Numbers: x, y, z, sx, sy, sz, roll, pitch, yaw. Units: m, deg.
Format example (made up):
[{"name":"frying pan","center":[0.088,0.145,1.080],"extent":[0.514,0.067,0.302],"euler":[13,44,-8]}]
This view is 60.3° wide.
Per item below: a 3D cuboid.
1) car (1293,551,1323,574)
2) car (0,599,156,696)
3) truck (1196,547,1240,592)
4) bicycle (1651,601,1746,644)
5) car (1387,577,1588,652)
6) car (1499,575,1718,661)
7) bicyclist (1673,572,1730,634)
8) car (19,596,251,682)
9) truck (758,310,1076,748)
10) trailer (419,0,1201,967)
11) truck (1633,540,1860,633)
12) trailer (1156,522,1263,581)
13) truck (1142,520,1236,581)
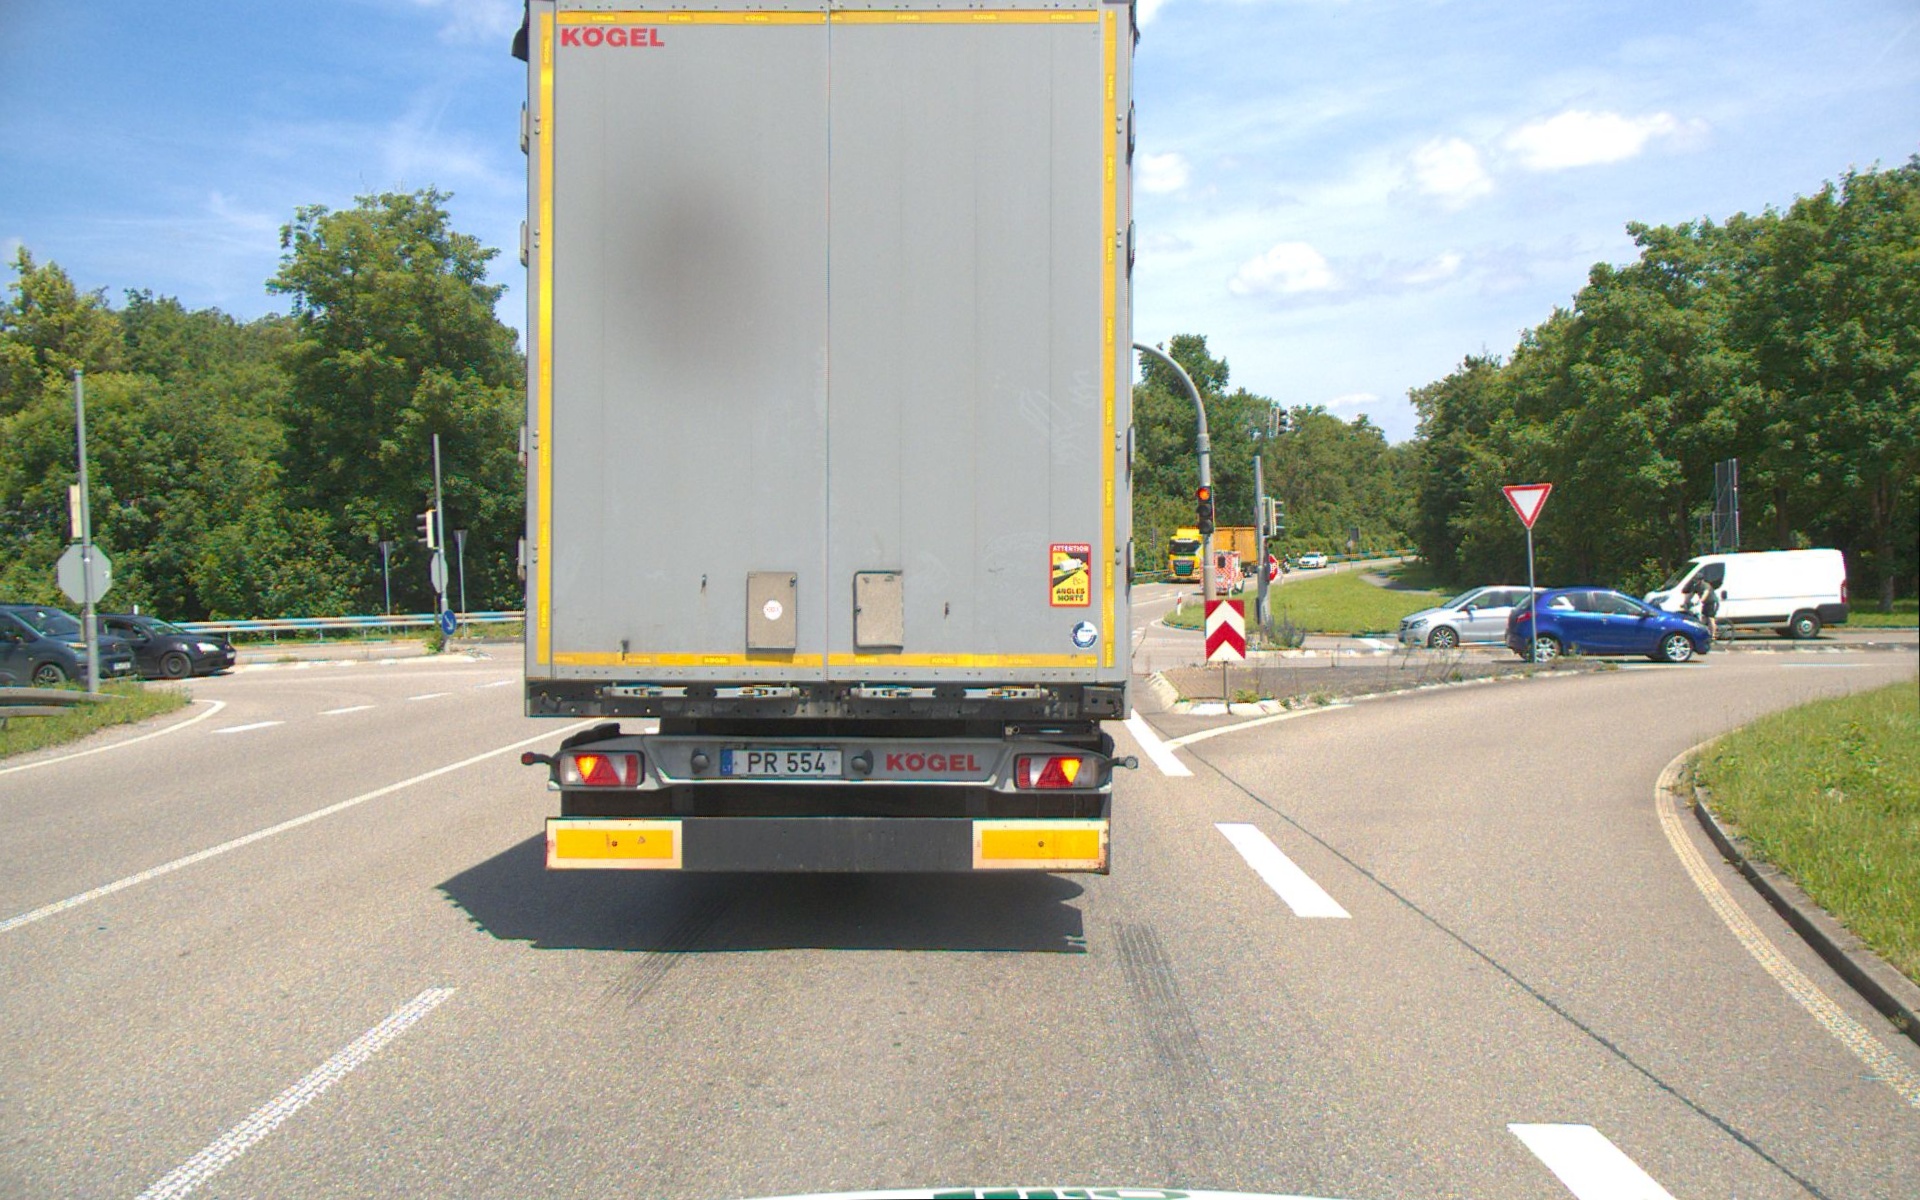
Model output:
[{"name":"car","center":[33.161,-3.608,157.635],"extent":[1.954,2.048,3.999],"euler":[0,3,25]},{"name":"car","center":[-18.093,0.910,32.026],"extent":[4.143,1.801,2.002],"euler":[-1,-1,9]},{"name":"truck","center":[16.415,-1.898,105.047],"extent":[2.440,2.775,6.036],"euler":[0,0,12]},{"name":"bicycle","center":[17.822,0.554,39.948],"extent":[1.949,1.013,0.796],"euler":[1,-2,-4]},{"name":"car","center":[12.791,0.362,40.317],"extent":[4.334,1.749,2.001],"euler":[0,-2,4]},{"name":"car","center":[12.728,0.368,32.676],"extent":[3.763,1.641,1.883],"euler":[0,-2,12]},{"name":"bicyclist","center":[17.902,0.084,39.957],"extent":[0.985,1.474,0.795],"euler":[1,-2,-3]},{"name":"car","center":[-17.989,0.836,36.161],"extent":[4.143,1.801,2.002],"euler":[-1,-1,9]},{"name":"truck","center":[-0.341,-0.682,18.890],"extent":[2.975,4.104,6.630],"euler":[0,0,1]},{"name":"trailer","center":[-0.460,-0.671,12.633],"extent":[2.988,4.104,12.560],"euler":[0,0,1]},{"name":"truck","center":[20.462,-0.321,43.266],"extent":[5.035,2.336,2.001],"euler":[0,-2,15]},{"name":"trailer","center":[20.899,-3.948,136.843],"extent":[4.907,4.438,20.845],"euler":[0,1,19]},{"name":"truck","center":[17.852,-3.774,128.129],"extent":[4.907,4.438,11.769],"euler":[0,1,19]}]
